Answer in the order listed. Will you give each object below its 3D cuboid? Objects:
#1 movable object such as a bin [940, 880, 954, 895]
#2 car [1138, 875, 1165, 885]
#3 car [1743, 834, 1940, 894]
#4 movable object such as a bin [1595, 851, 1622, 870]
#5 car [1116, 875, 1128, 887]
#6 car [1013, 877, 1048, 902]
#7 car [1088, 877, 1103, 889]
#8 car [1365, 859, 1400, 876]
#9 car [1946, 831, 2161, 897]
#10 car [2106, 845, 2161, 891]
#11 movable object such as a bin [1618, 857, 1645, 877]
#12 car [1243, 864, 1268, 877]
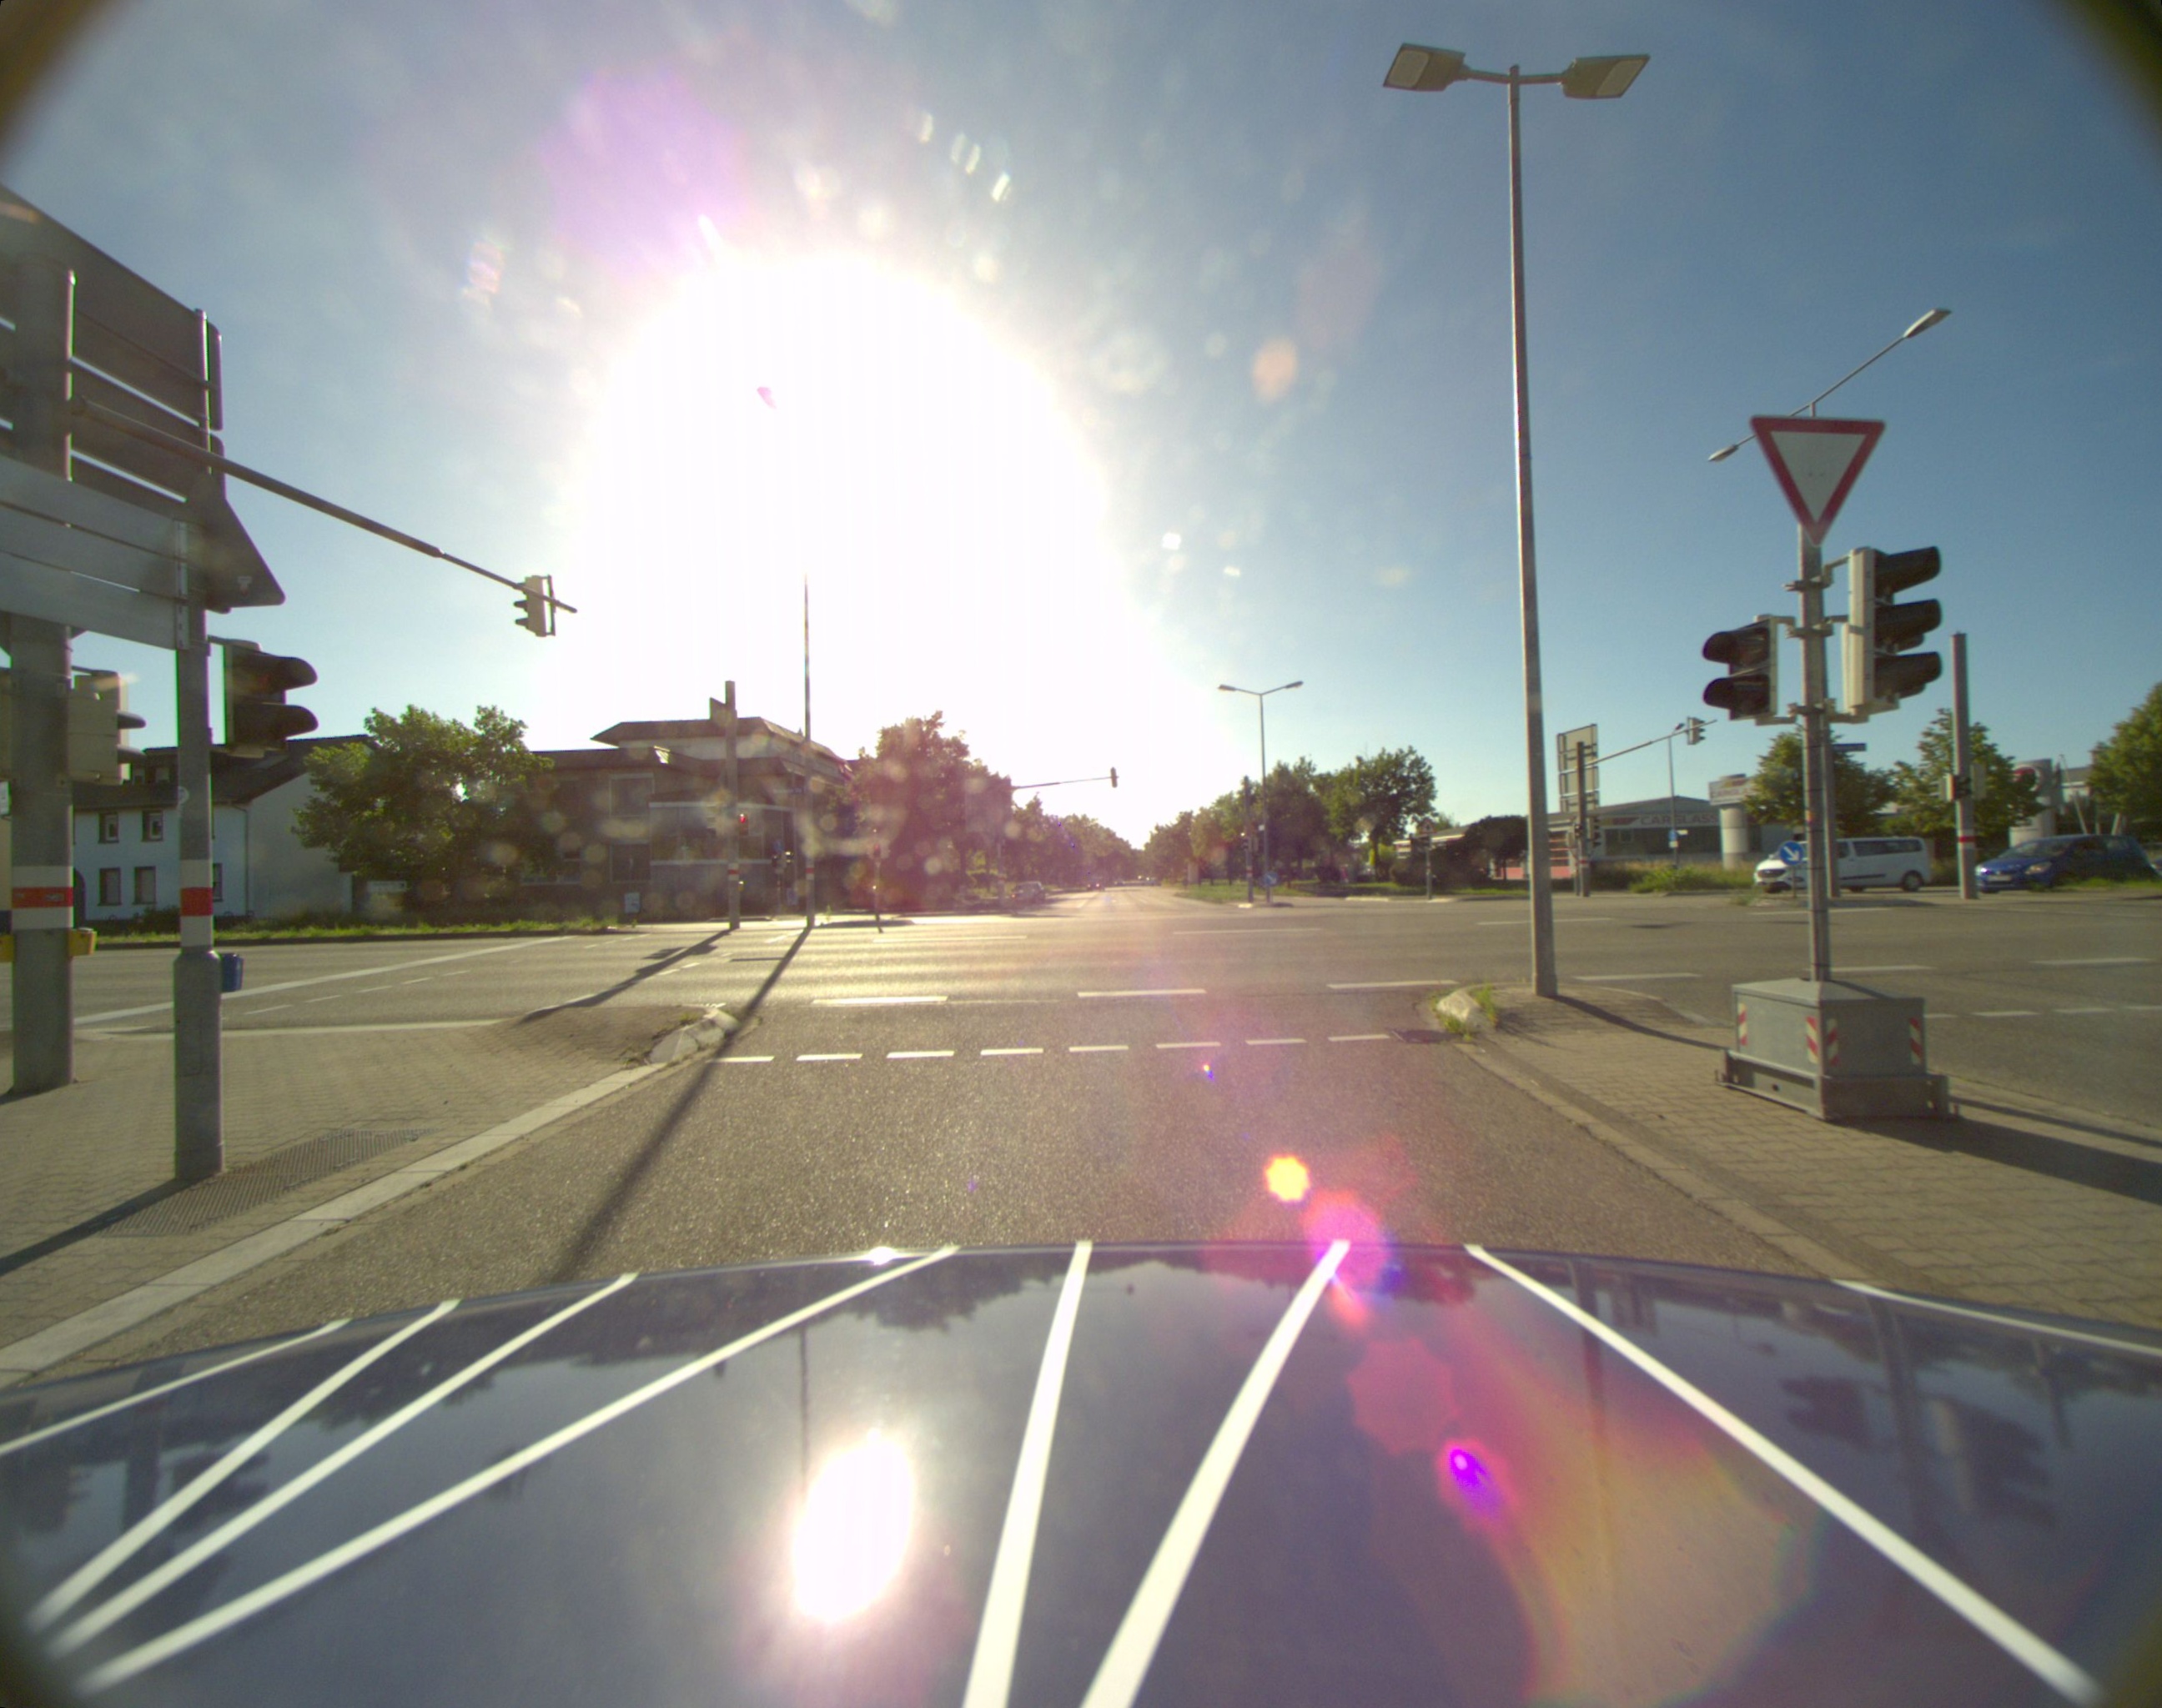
[{"bbox_3d":[-12.405,3.112,70.535,1.089,1.314,0.797,-2,-1,3],"label":"movable object such as a bin"},{"bbox_3d":[12.194,4.457,130.810,4.488,1.695,2.002,-2,-1,8],"label":"car"},{"bbox_3d":[27.741,0.393,27.840,5.273,2.001,2.048,-1,-3,-3],"label":"car"},{"bbox_3d":[36.308,0.459,52.349,1.130,1.290,0.993,-2,-1,2],"label":"movable object such as a bin"},{"bbox_3d":[7.193,4.687,134.419,1.730,2.002,4.000,-1,0,-1],"label":"car"},{"bbox_3d":[-3.285,2.292,49.764,1.776,1.477,3.782,-3,-2,3],"label":"car"},{"bbox_3d":[1.921,3.753,97.934,1.776,1.477,4.217,0,-1,3],"label":"car"},{"bbox_3d":[43.315,1.962,109.284,4.212,2.203,1.778,-2,-1,0],"label":"car"},{"bbox_3d":[26.691,0.306,20.751,4.038,1.633,1.893,-1,-3,-3],"label":"car"},{"bbox_3d":[31.950,0.350,21.286,4.038,1.266,1.893,-1,-3,-3],"label":"car"},{"bbox_3d":[38.104,0.909,52.608,1.130,1.290,0.993,-2,-1,2],"label":"movable object such as a bin"},{"bbox_3d":[29.674,2.791,129.381,3.994,2.001,2.002,-4,-2,11],"label":"car"}]
